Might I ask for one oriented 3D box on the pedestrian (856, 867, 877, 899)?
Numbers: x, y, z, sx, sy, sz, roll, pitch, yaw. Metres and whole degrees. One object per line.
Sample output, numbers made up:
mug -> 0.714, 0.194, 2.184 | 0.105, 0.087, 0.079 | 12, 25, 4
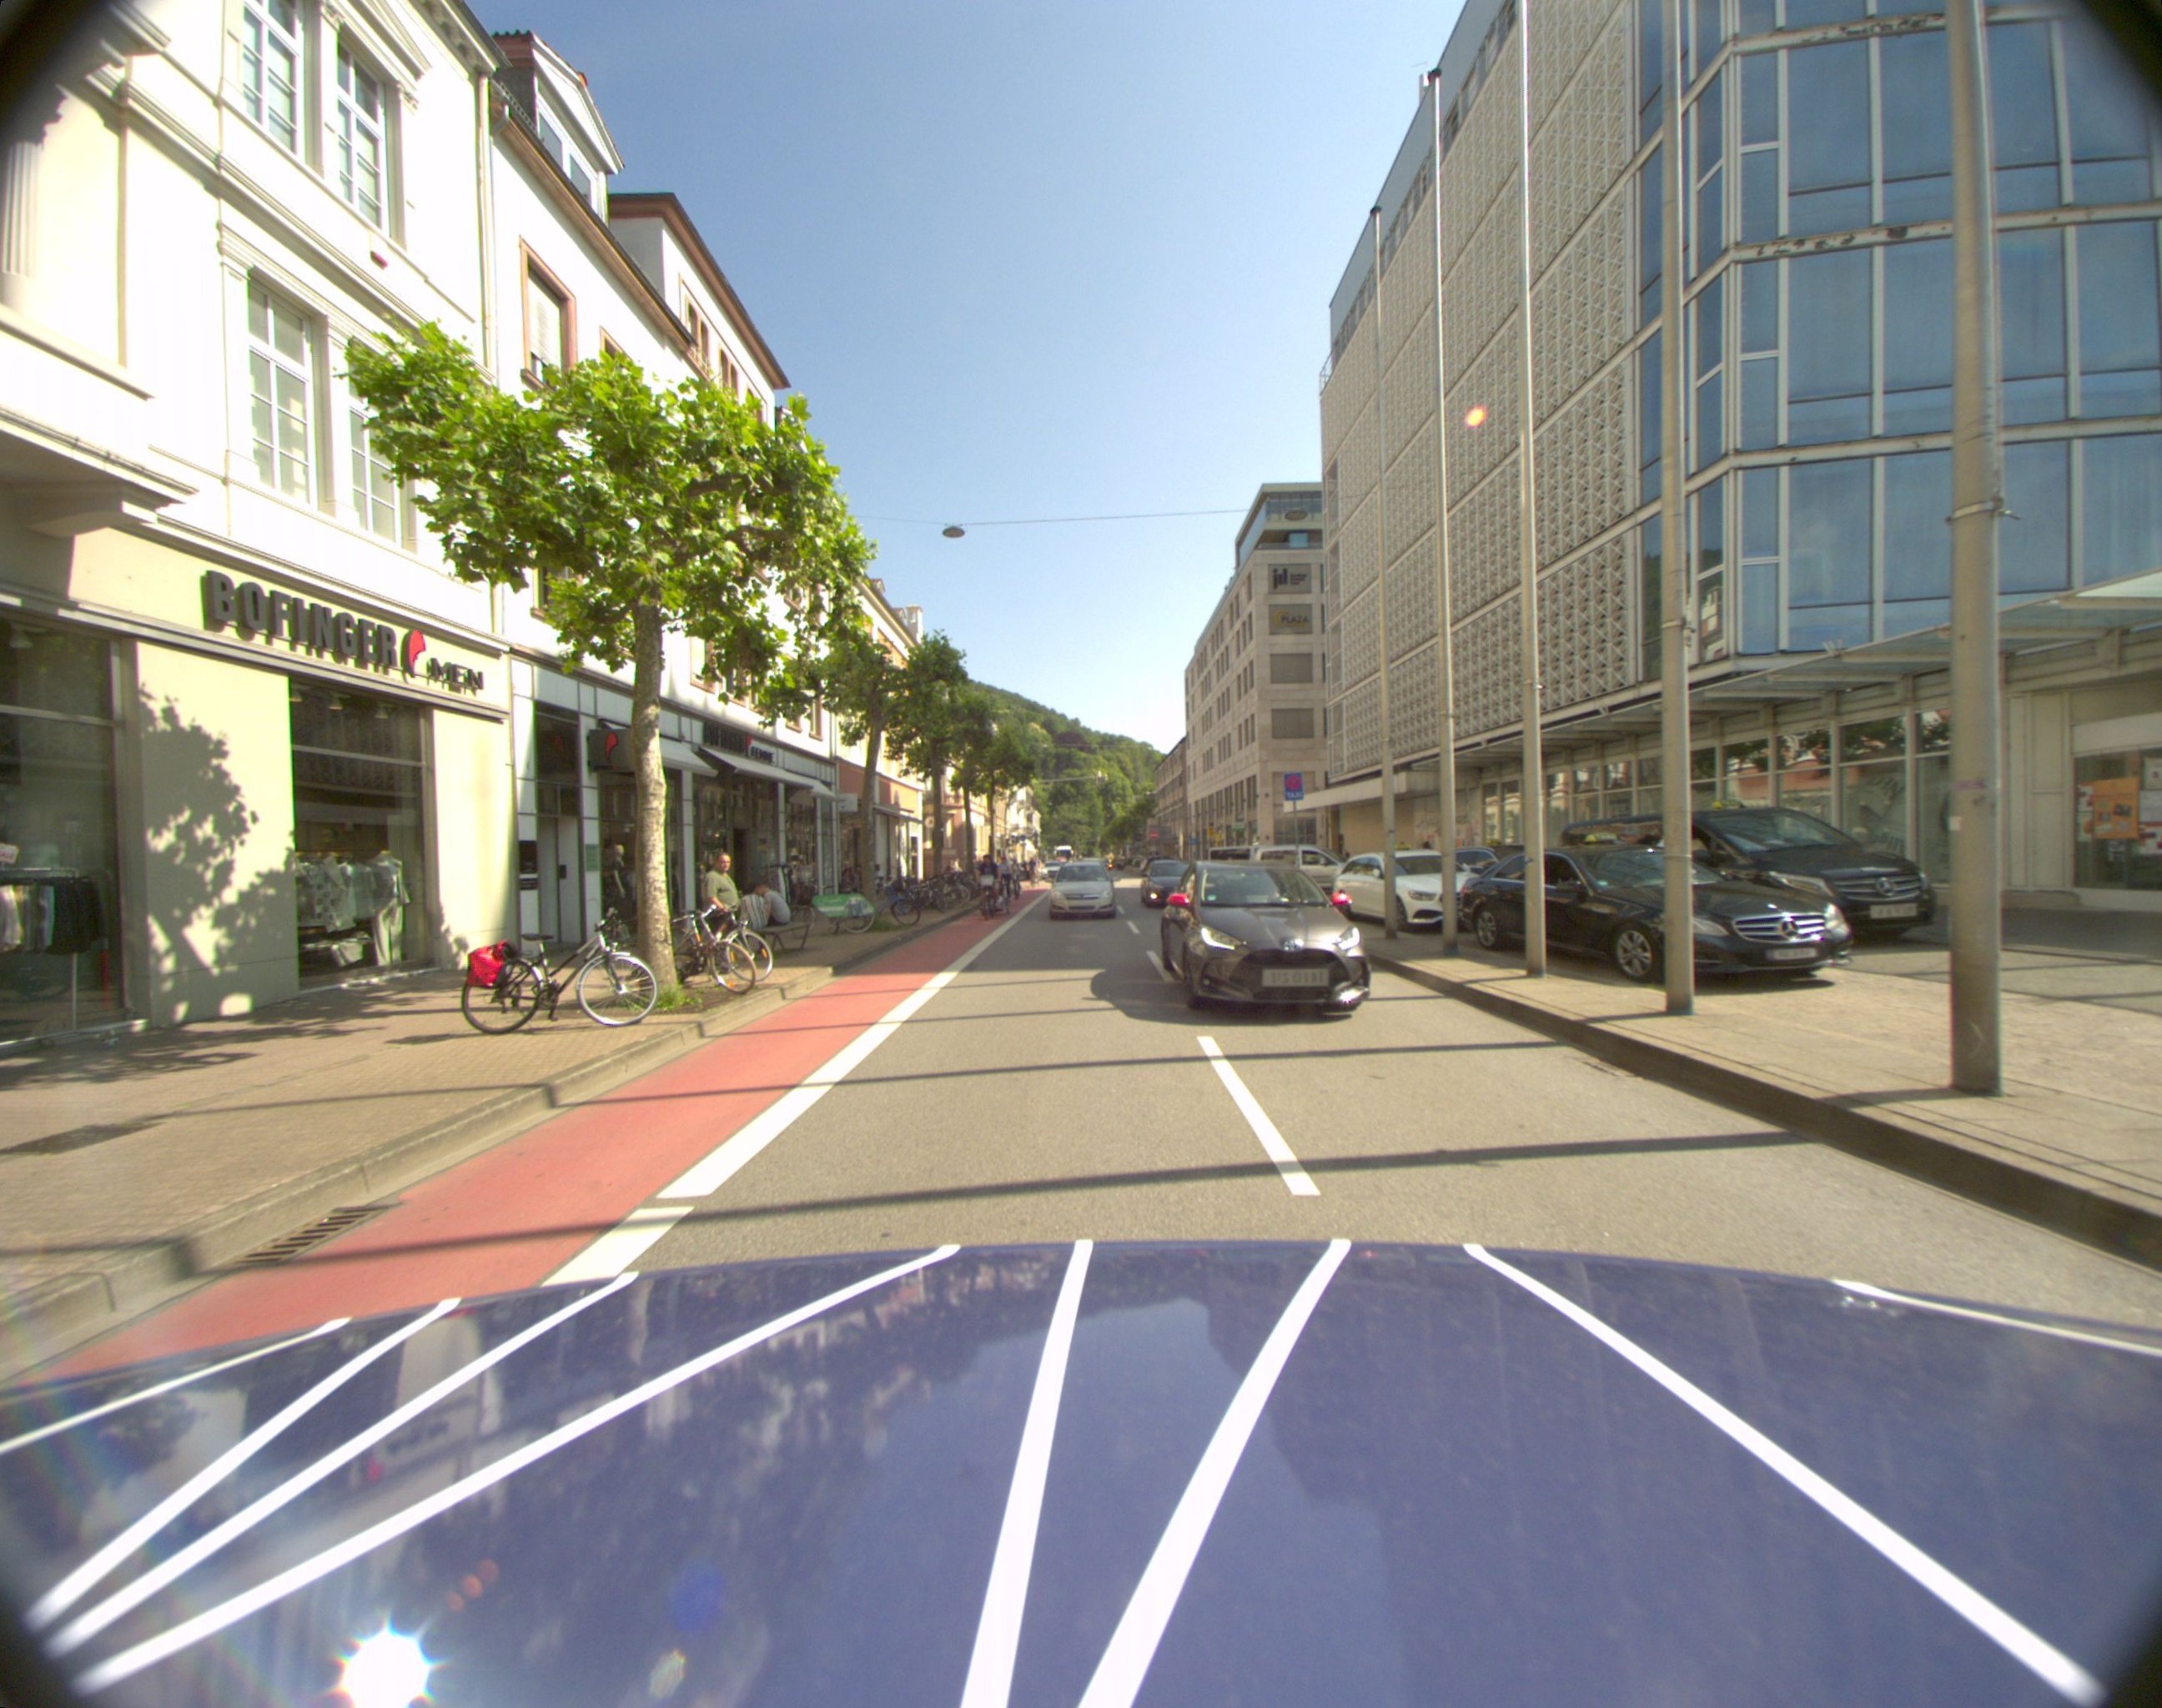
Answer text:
pedestrian -> -8.698, 1.169, 30.802 | 0.683, 1.246, 0.532 | 0, 0, -2

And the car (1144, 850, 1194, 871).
car -> 7.920, 0.550, 68.415 | 4.025, 1.593, 1.961 | -3, 1, 23

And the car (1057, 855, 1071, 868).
car -> -2.447, 1.021, 107.170 | 1.799, 1.515, 4.262 | -5, 1, -2

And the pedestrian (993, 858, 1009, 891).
pedestrian -> -4.580, 1.164, 43.372 | 0.789, 1.784, 0.641 | -2, 0, -2

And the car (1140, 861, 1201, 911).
car -> 2.828, 0.990, 24.776 | 1.733, 1.389, 4.107 | -1, 0, 3

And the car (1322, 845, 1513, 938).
car -> 6.554, 0.662, 15.477 | 1.803, 1.514, 4.739 | -2, 0, 1

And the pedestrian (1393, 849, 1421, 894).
pedestrian -> 10.935, 0.585, 25.505 | 0.594, 1.428, 0.641 | -4, 2, -2

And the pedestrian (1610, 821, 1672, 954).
pedestrian -> 7.815, 0.448, 10.600 | 0.618, 1.782, 0.694 | -1, 1, 40

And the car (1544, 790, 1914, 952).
car -> 9.638, 0.219, 11.966 | 1.836, 2.002, 4.685 | -2, 0, 1

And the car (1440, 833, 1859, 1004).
car -> 6.596, 0.621, 9.678 | 1.765, 1.590, 4.709 | -2, 0, 0

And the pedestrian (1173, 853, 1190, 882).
pedestrian -> 5.502, 0.742, 41.536 | 0.641, 1.550, 0.680 | -3, 0, -11

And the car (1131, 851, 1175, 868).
car -> 8.124, 0.629, 85.827 | 4.492, 1.424, 1.865 | -6, 0, 20

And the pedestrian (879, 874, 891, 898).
pedestrian -> -8.062, 1.322, 31.277 | 0.365, 0.962, 0.437 | -2, 0, 2

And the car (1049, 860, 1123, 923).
car -> 0.067, 0.941, 20.950 | 1.791, 1.483, 4.367 | -1, 0, -2

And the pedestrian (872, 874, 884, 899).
pedestrian -> -8.171, 1.313, 30.612 | 0.342, 0.962, 0.437 | -2, 0, 2

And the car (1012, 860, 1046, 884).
car -> -3.829, 1.337, 56.819 | 1.631, 1.470, 3.732 | -2, 3, 9

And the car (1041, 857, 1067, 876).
car -> -2.242, 1.032, 63.873 | 1.957, 1.416, 4.886 | -3, 0, -1

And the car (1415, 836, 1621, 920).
car -> 9.831, 0.474, 17.590 | 1.999, 1.601, 4.398 | -3, 0, -4

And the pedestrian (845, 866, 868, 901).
pedestrian -> -8.762, 1.157, 29.661 | 0.683, 1.325, 0.532 | -2, 0, -2

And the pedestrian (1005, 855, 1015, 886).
pedestrian -> -4.175, 0.973, 44.924 | 0.453, 1.784, 0.608 | -3, 0, -2

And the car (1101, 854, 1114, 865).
car -> 3.572, 0.772, 102.688 | 1.734, 1.389, 4.106 | -2, 0, 1

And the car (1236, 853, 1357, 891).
car -> 8.713, 0.736, 30.813 | 4.288, 1.279, 1.974 | -3, 0, 32

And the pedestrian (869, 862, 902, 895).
pedestrian -> -8.644, 1.074, 33.579 | 1.236, 1.414, 0.789 | -1, 2, -2

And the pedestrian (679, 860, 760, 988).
pedestrian -> -4.996, 0.936, 10.539 | 0.641, 1.679, 0.843 | -3, 0, -2

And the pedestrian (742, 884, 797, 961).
pedestrian -> -5.328, 1.164, 13.008 | 0.641, 1.226, 0.596 | -2, 2, -2

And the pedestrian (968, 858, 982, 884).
pedestrian -> -6.729, 1.072, 48.282 | 0.640, 1.648, 0.791 | -2, -1, 14

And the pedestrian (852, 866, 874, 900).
pedestrian -> -8.675, 1.145, 30.257 | 0.683, 1.330, 0.532 | -1, 0, -2

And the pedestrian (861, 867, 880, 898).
pedestrian -> -8.705, 1.187, 31.401 | 0.641, 1.246, 0.608 | 0, 2, -2

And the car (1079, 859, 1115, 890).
car -> 0.825, 1.056, 40.822 | 1.775, 1.469, 4.106 | -2, 0, 0

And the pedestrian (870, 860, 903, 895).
pedestrian -> -8.793, 1.053, 34.442 | 1.255, 1.475, 0.837 | -2, 1, -2

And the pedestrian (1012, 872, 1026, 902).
pedestrian -> -3.833, 2.017, 46.919 | 0.641, 1.700, 0.789 | 6, 3, -3

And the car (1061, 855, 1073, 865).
car -> -2.210, 0.943, 117.896 | 1.868, 1.479, 4.414 | -1, 0, -2

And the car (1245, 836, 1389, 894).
car -> 8.322, 0.422, 26.958 | 4.434, 1.898, 2.014 | -2, 0, 37

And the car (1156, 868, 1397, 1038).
car -> 1.925, 0.909, 8.759 | 1.868, 1.469, 4.108 | 0, -1, 2

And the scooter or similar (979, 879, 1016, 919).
scooter or similar -> -2.446, 1.309, 22.319 | 0.785, 1.054, 1.126 | -3, 0, 8

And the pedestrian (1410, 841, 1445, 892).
pedestrian -> 11.631, 0.407, 25.517 | 0.789, 1.651, 0.641 | -4, 2, -2

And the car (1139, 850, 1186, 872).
car -> 7.710, 0.648, 71.826 | 4.165, 1.627, 2.103 | -5, 0, 9

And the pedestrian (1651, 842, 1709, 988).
pedestrian -> 7.601, 0.746, 9.633 | 0.531, 1.782, 0.540 | -1, 1, 40

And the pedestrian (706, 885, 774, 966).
pedestrian -> -5.576, 1.152, 12.454 | 0.789, 1.236, 0.576 | -2, 2, -2

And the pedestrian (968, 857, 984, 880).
pedestrian -> -7.950, 1.080, 57.436 | 0.904, 1.603, 0.974 | -1, 4, -28
